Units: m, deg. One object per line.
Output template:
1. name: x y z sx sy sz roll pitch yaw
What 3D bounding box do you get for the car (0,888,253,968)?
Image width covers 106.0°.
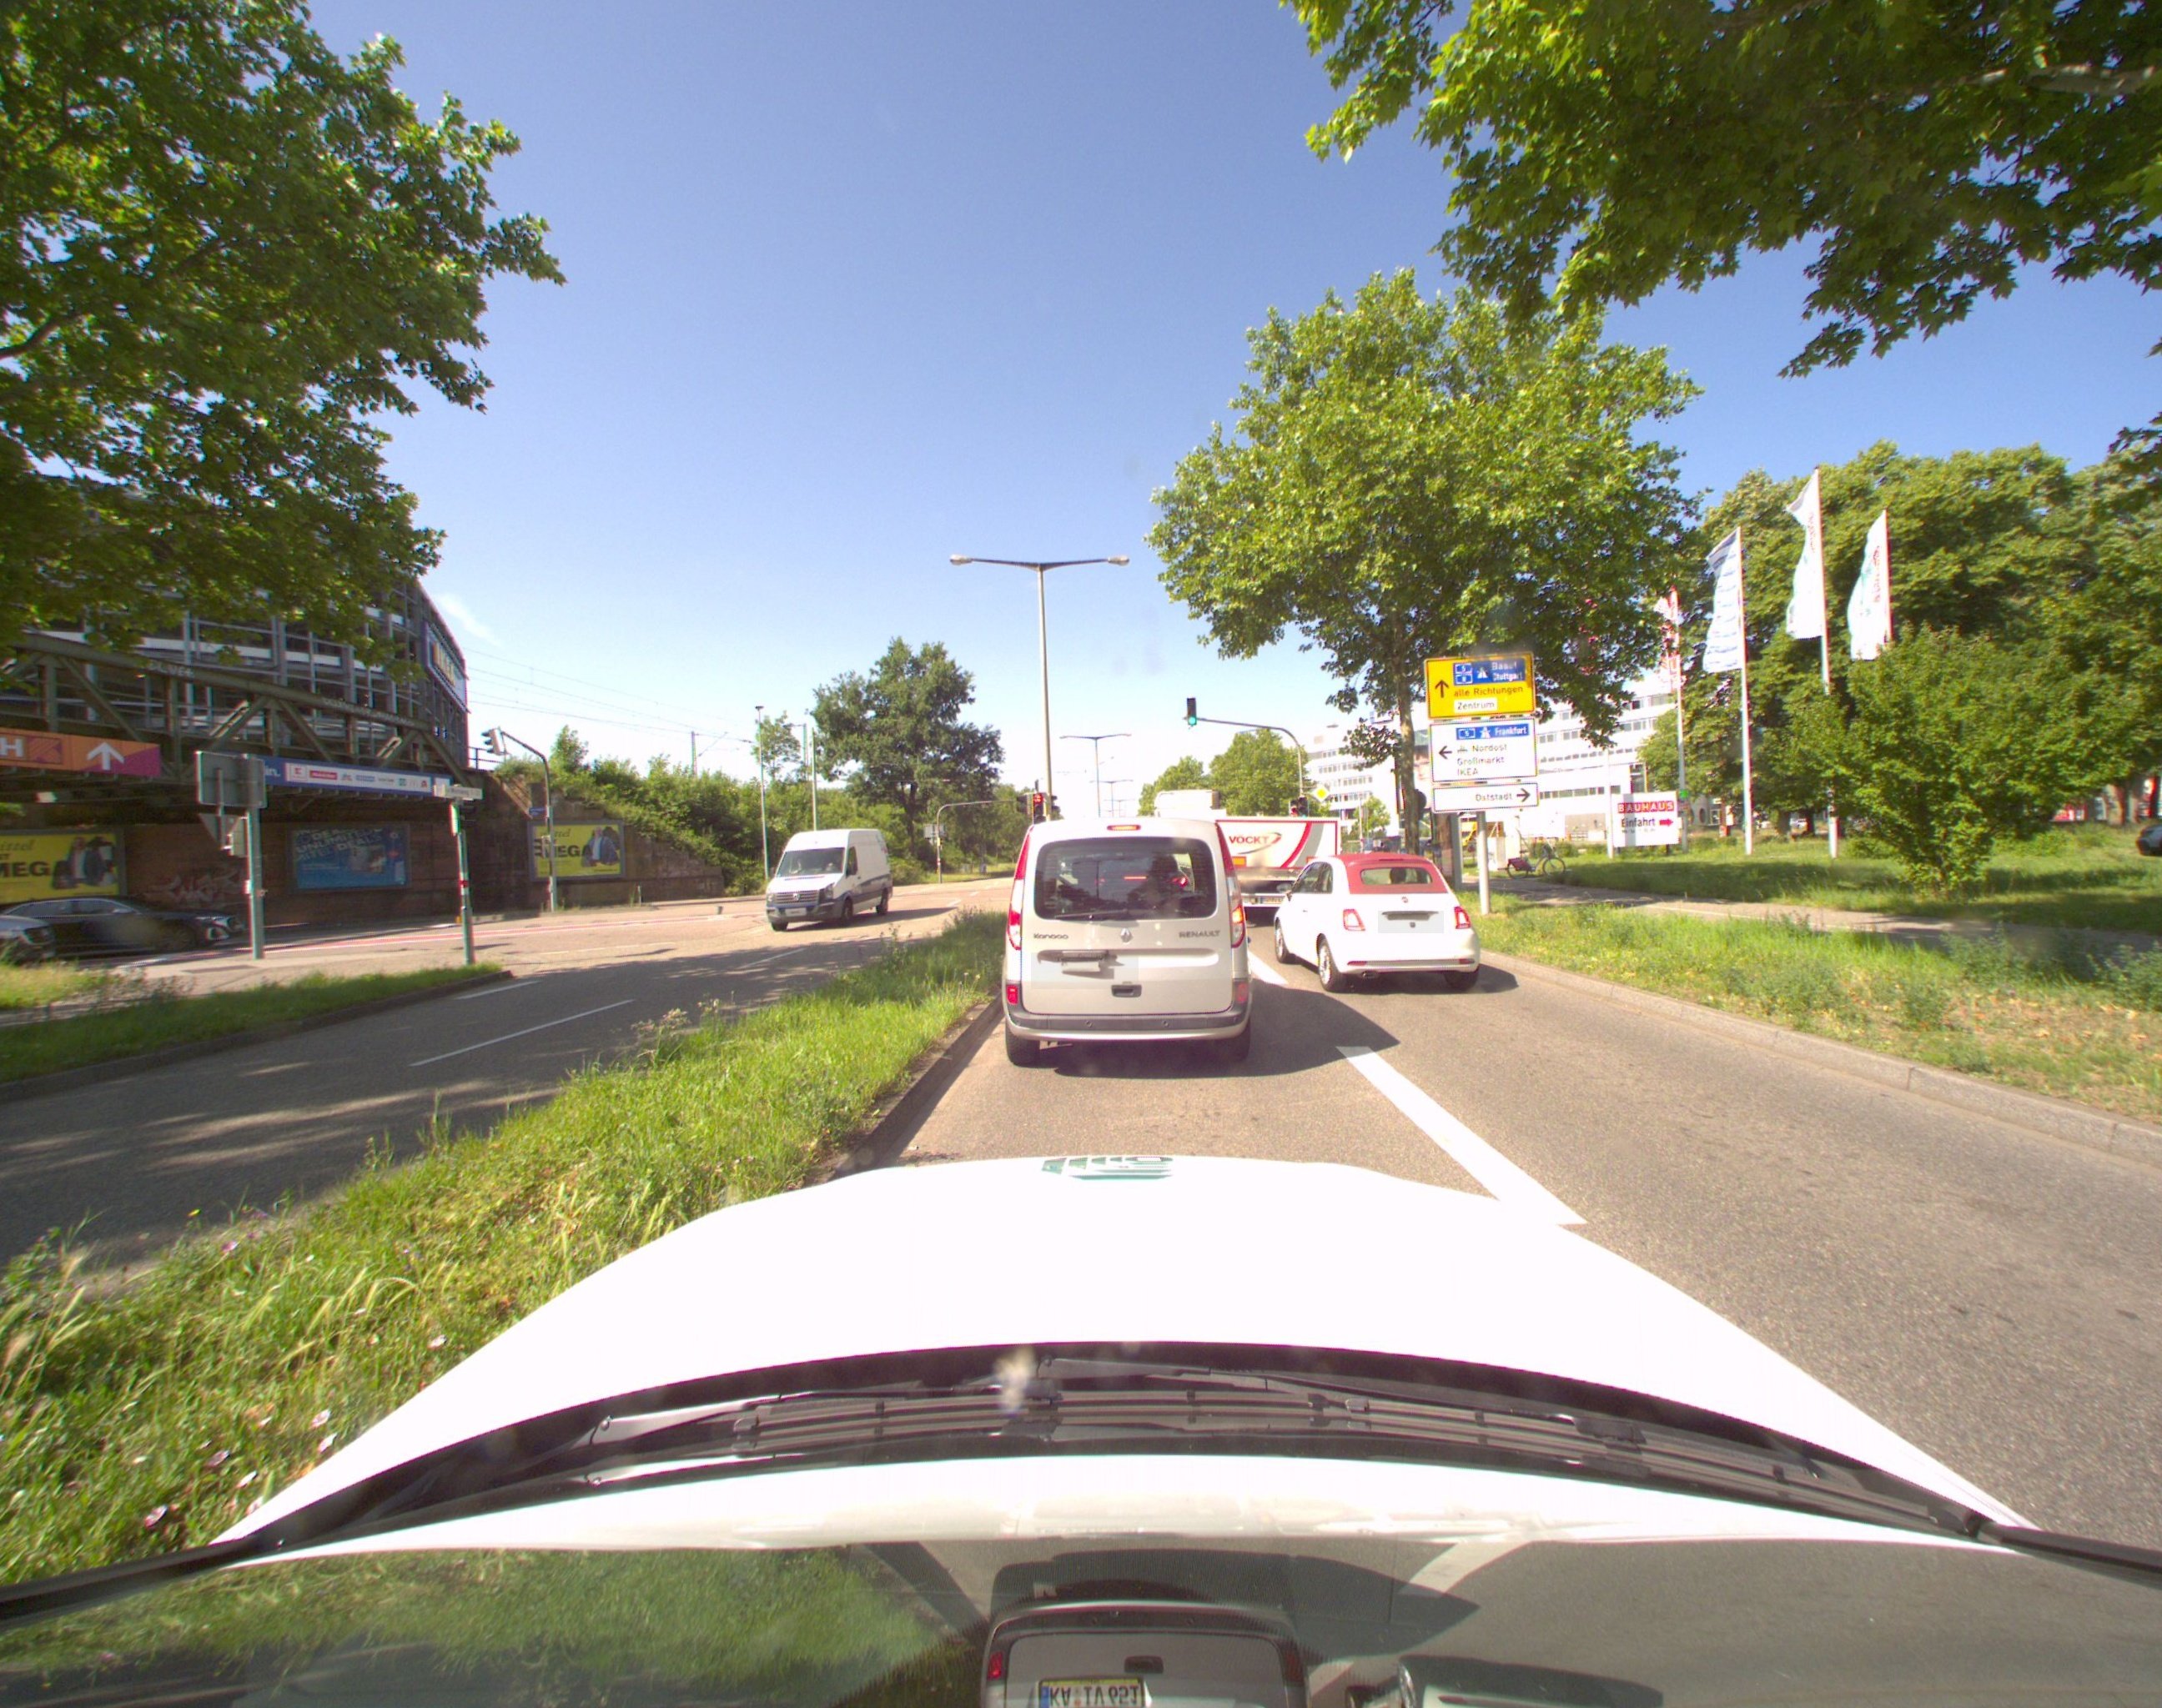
1. car: -25.743 1.921 22.200 4.015 1.646 1.885 -4 1 -32

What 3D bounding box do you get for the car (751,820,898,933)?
1. car: -6.950 0.557 22.882 1.986 2.662 5.788 -3 0 2

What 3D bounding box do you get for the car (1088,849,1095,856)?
1. car: 3.242 -0.441 251.027 1.880 2.014 4.004 0 -1 4

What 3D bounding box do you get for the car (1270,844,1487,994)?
1. car: 3.402 0.675 9.925 1.532 1.514 3.261 0 0 2

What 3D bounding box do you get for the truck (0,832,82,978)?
1. truck: -26.313 1.278 16.689 6.890 3.105 2.196 -4 1 -32

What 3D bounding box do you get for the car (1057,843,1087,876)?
1. car: -0.734 0.486 69.862 1.984 2.607 5.140 -3 -1 5

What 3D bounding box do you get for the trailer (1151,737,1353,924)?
1. trailer: 3.863 -0.412 22.155 2.890 3.622 12.684 0 0 0

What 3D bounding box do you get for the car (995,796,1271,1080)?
1. car: 0.398 0.564 7.302 1.779 1.838 4.001 0 0 2

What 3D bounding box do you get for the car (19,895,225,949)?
1. car: -32.853 2.288 28.102 4.240 1.349 1.624 -4 1 -32

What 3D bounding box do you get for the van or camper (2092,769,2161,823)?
1. van or camper: 63.651 -3.414 46.507 2.007 2.942 7.213 0 -1 -32

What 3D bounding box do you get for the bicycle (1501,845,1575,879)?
1. bicycle: 14.987 0.266 26.762 1.985 1.014 0.624 -3 0 18

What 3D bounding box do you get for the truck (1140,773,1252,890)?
1. truck: 3.854 -0.671 29.035 2.902 3.643 7.186 0 -1 -1

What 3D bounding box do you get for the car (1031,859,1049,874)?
1. car: -4.594 1.343 91.811 1.693 1.508 4.002 -2 0 2
